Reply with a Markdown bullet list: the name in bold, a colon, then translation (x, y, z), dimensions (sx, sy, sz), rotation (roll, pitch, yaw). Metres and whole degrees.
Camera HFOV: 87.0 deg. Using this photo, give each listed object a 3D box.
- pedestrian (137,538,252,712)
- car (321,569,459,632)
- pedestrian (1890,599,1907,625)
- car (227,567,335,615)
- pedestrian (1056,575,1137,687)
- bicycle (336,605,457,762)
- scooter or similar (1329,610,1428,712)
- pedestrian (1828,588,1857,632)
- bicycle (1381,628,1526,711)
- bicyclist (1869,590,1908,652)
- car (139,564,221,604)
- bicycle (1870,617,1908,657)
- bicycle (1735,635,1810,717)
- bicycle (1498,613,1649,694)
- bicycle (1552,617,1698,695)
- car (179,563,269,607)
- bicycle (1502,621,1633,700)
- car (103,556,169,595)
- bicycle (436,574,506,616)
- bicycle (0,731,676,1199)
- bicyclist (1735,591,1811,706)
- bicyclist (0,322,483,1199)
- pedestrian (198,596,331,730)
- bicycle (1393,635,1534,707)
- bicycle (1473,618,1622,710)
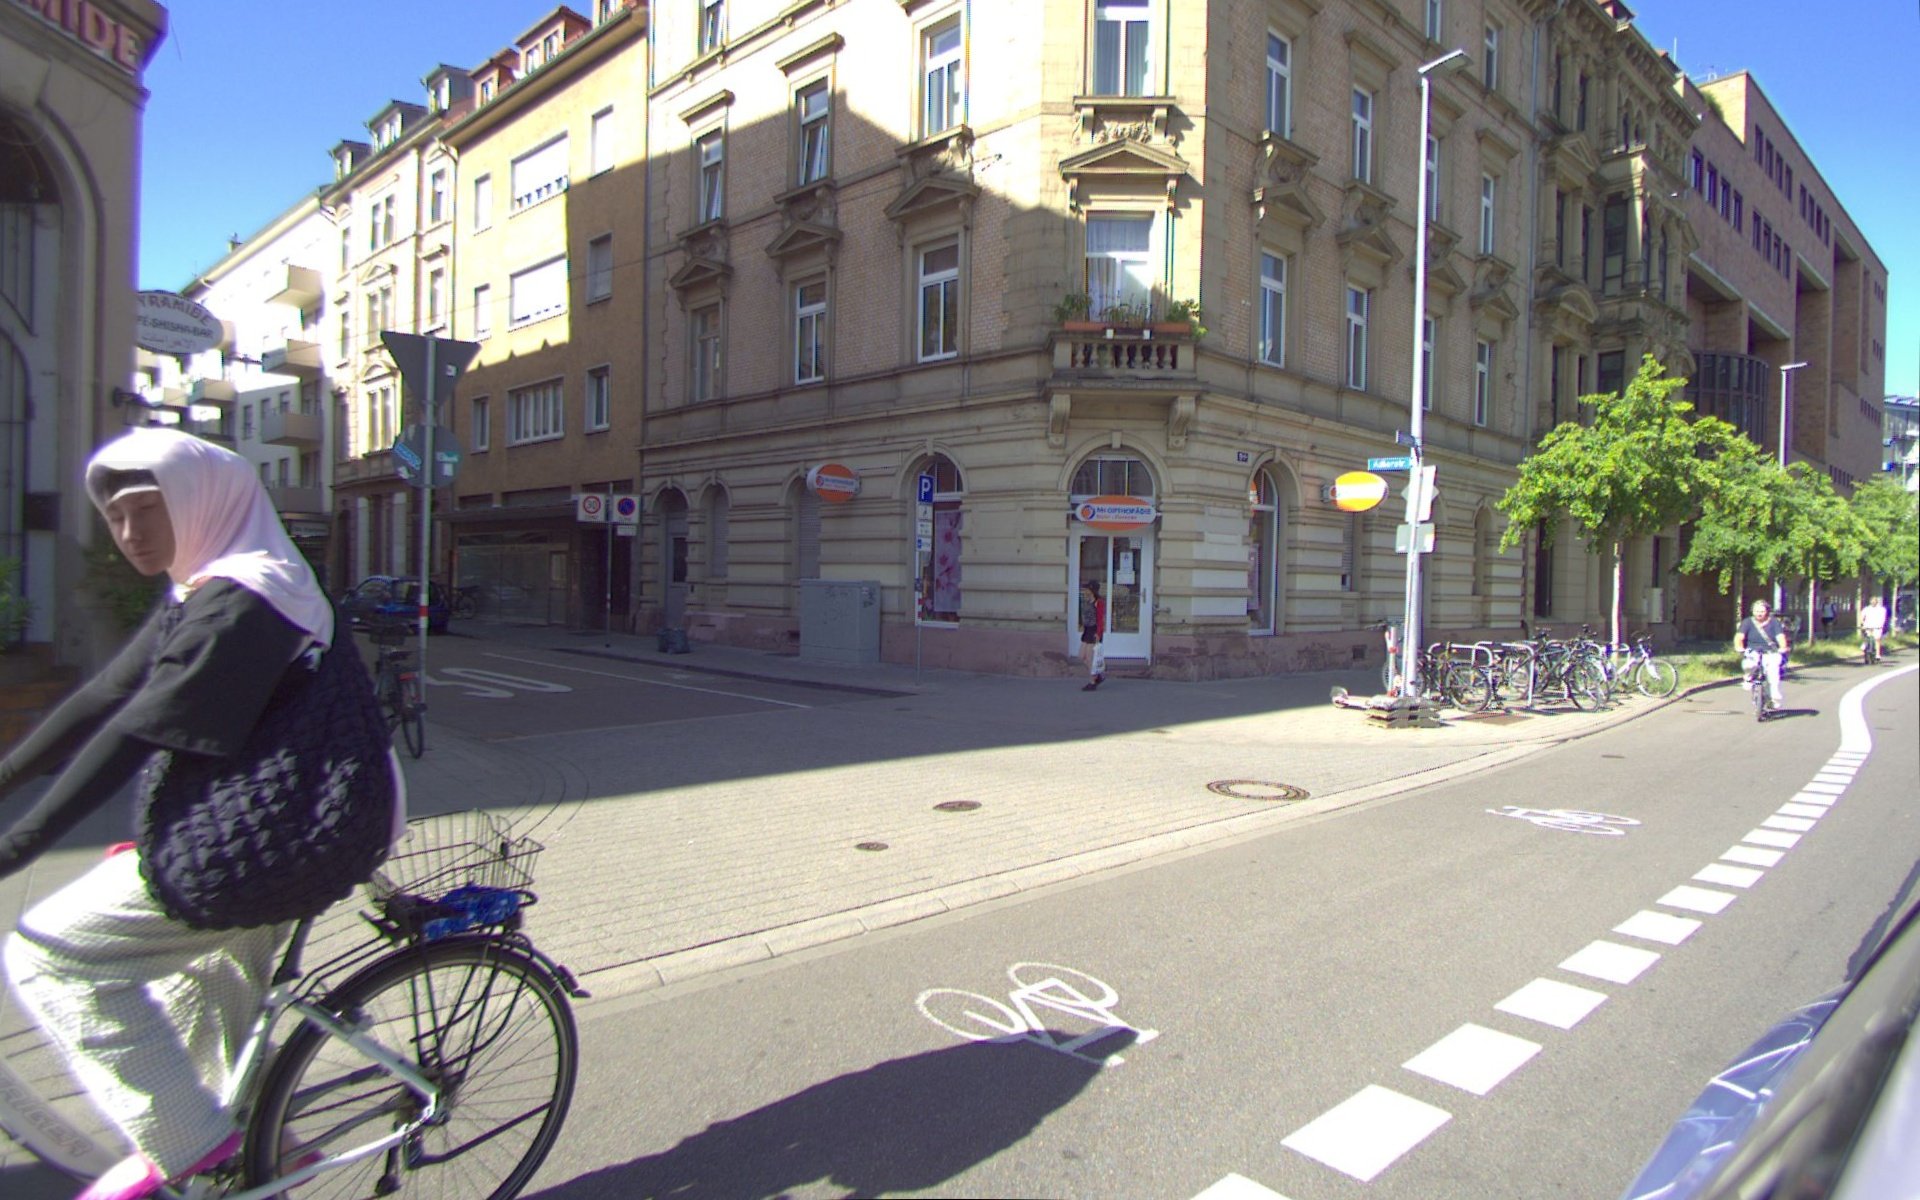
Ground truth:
- **pedestrian**: translation (-8.321, 0.255, 11.003), dimensions (0.906, 1.783, 0.854), rotation (0, 0, 43)
- **car**: translation (-14.679, -0.002, 25.987), dimensions (3.983, 1.438, 1.775), rotation (2, -1, 40)
- **pedestrian**: translation (55.530, 0.717, 59.903), dimensions (0.723, 1.505, 0.633), rotation (0, 1, -41)
- **car**: translation (-21.367, -0.304, 31.793), dimensions (3.983, 1.351, 1.775), rotation (2, -1, 40)
- **pedestrian**: translation (1.959, 0.430, 14.595), dimensions (0.907, 1.561, 0.713), rotation (1, 1, -20)
- **bicycle**: translation (-5.026, 0.687, 8.974), dimensions (0.641, 1.186, 1.823), rotation (5, -1, -36)
- **scooter or similar**: translation (5.380, 0.762, 13.060), dimensions (0.411, 1.204, 1.115), rotation (1, 1, -33)
- **pedestrian**: translation (39.111, 0.413, 44.857), dimensions (1.087, 1.906, 0.789), rotation (0, 1, -41)
- **bicycle**: translation (6.646, 0.907, 13.701), dimensions (0.595, 0.955, 1.677), rotation (1, 1, -33)
- **bicyclist**: translation (26.597, 0.593, 28.989), dimensions (0.892, 1.751, 0.684), rotation (1, -1, -38)
- **car**: translation (-30.110, -0.645, 39.055), dimensions (3.757, 1.450, 1.776), rotation (2, 1, 40)
- **bicycle**: translation (26.625, 1.050, 28.987), dimensions (1.480, 1.110, 0.578), rotation (0, -1, -39)
- **bicycle**: translation (11.350, 1.030, 14.123), dimensions (1.481, 1.040, 0.558), rotation (0, -1, -41)
- **bicycle**: translation (10.284, 0.861, 17.024), dimensions (0.697, 1.142, 2.001), rotation (1, 3, -39)
- **bicycle**: translation (11.508, 0.929, 17.550), dimensions (1.993, 1.106, 0.835), rotation (5, 3, 40)
- **car**: translation (-26.035, -0.543, 35.766), dimensions (3.757, 1.450, 1.776), rotation (2, 1, 40)
- **bicycle**: translation (9.526, 0.921, 15.920), dimensions (0.595, 1.058, 1.605), rotation (1, 3, -37)
- **car**: translation (-37.557, -1.122, 46.115), dimensions (3.758, 1.686, 1.775), rotation (2, 1, 42)
- **bicycle**: translation (-14.433, -0.158, 29.847), dimensions (1.988, 1.193, 0.629), rotation (1, 1, 19)
- **bicycle**: translation (-1.473, 0.896, 1.877), dimensions (1.761, 1.106, 0.558), rotation (0, -1, -42)
- **bicyclist**: translation (11.375, 0.655, 14.156), dimensions (0.893, 1.557, 0.658), rotation (1, -1, -41)
- **bicyclist**: translation (-1.461, 0.471, 1.888), dimensions (0.853, 1.733, 0.780), rotation (1, -1, -41)
- **pedestrian**: translation (-6.862, 0.583, 9.989), dimensions (0.849, 1.229, 0.920), rotation (0, 0, 43)
- **bicycle**: translation (7.049, 0.968, 14.237), dimensions (0.595, 0.831, 1.677), rotation (1, 2, -33)
- **bicycle**: translation (8.517, 0.896, 14.744), dimensions (0.595, 1.114, 1.729), rotation (1, 3, -37)
